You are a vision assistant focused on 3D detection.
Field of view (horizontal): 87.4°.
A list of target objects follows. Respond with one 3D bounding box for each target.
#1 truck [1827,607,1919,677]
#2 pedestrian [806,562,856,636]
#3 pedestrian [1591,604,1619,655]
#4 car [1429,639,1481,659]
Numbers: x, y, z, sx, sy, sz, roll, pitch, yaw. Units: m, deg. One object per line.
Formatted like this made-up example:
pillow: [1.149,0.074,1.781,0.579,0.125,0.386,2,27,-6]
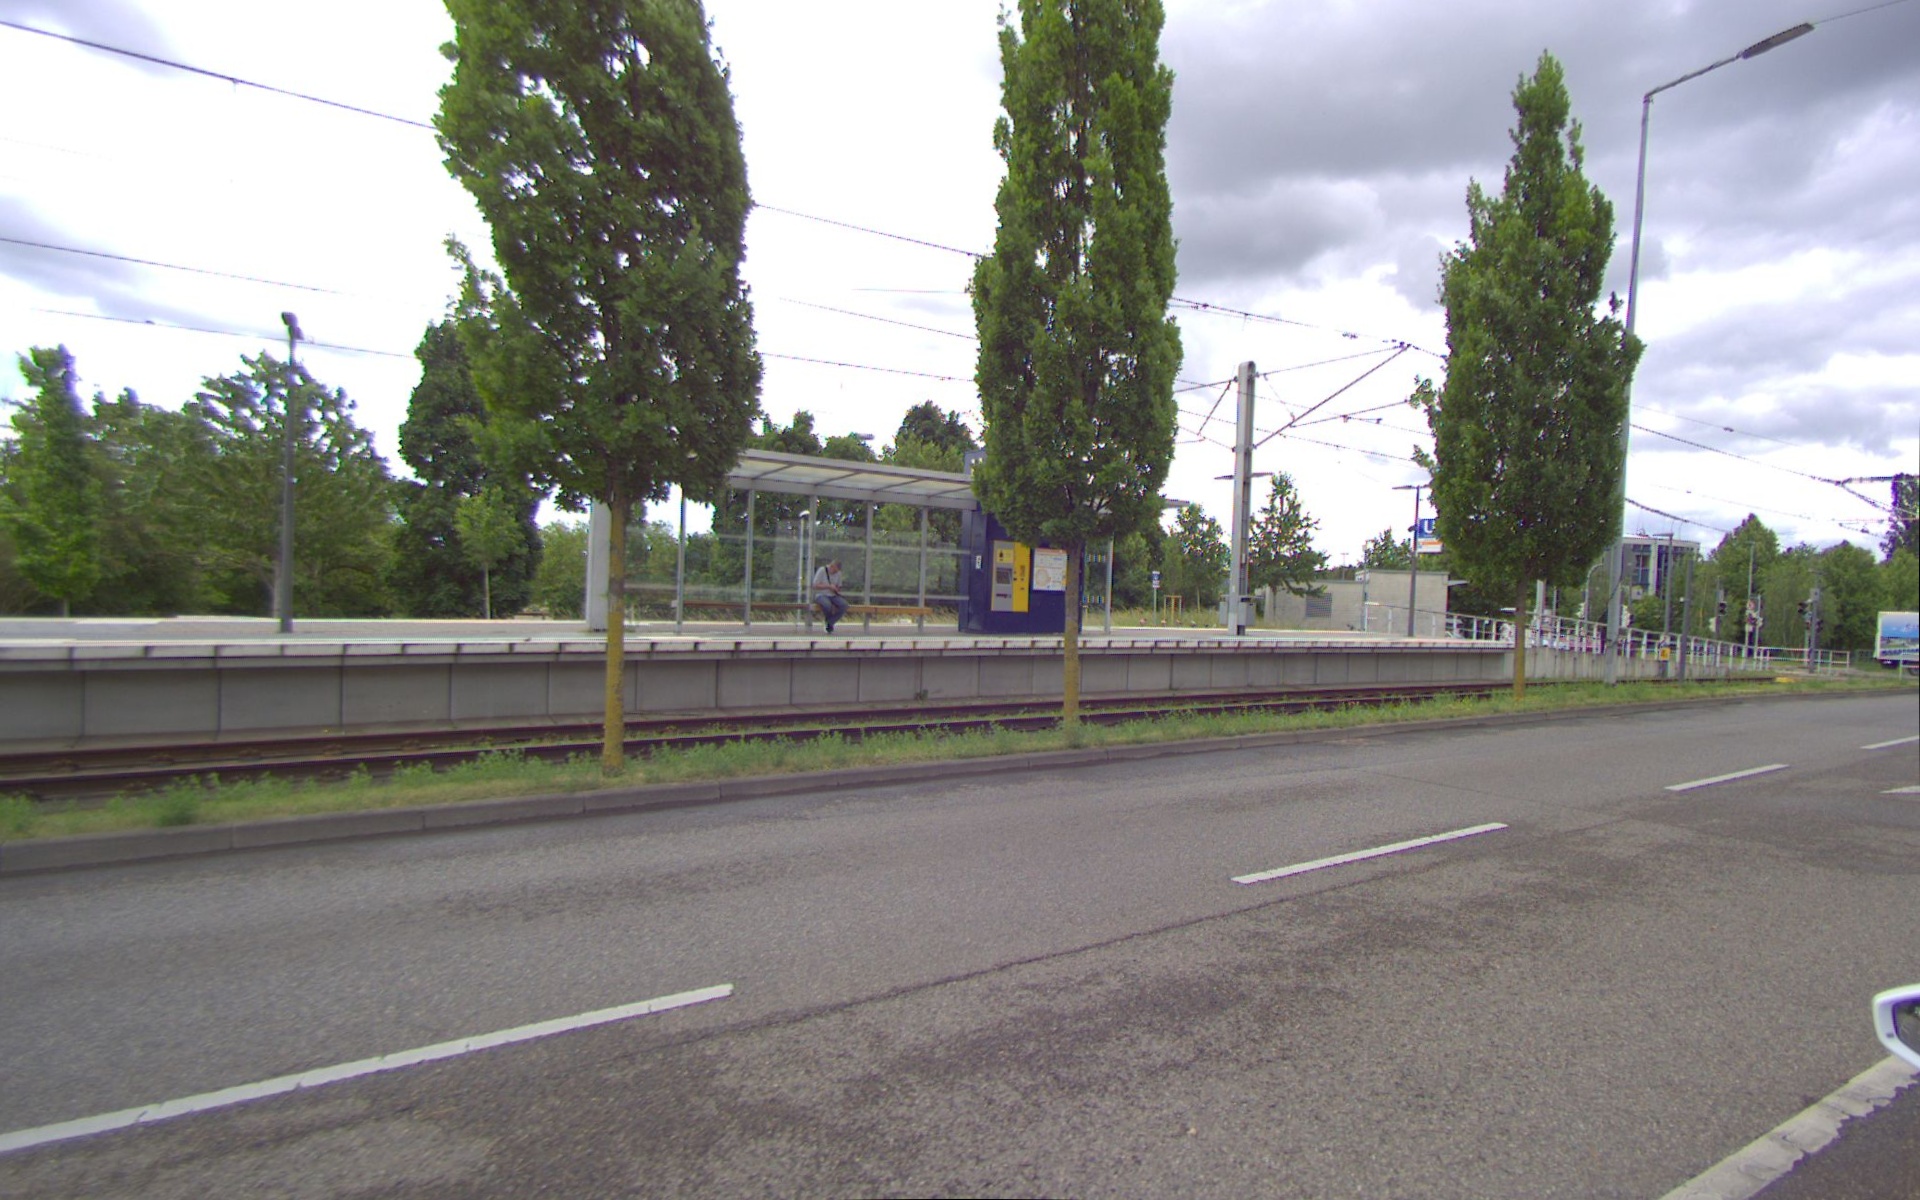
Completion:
truck: [51.976,2.243,54.481,2.669,3.647,7.180,-1,1,-40]
pedestrian: [-2.318,-0.023,18.037,0.653,1.286,0.606,-2,1,-35]
pedestrian: [24.048,1.094,37.472,0.785,1.852,0.568,2,0,-34]
car: [37.475,3.690,76.111,1.530,1.327,3.275,2,-1,-23]
